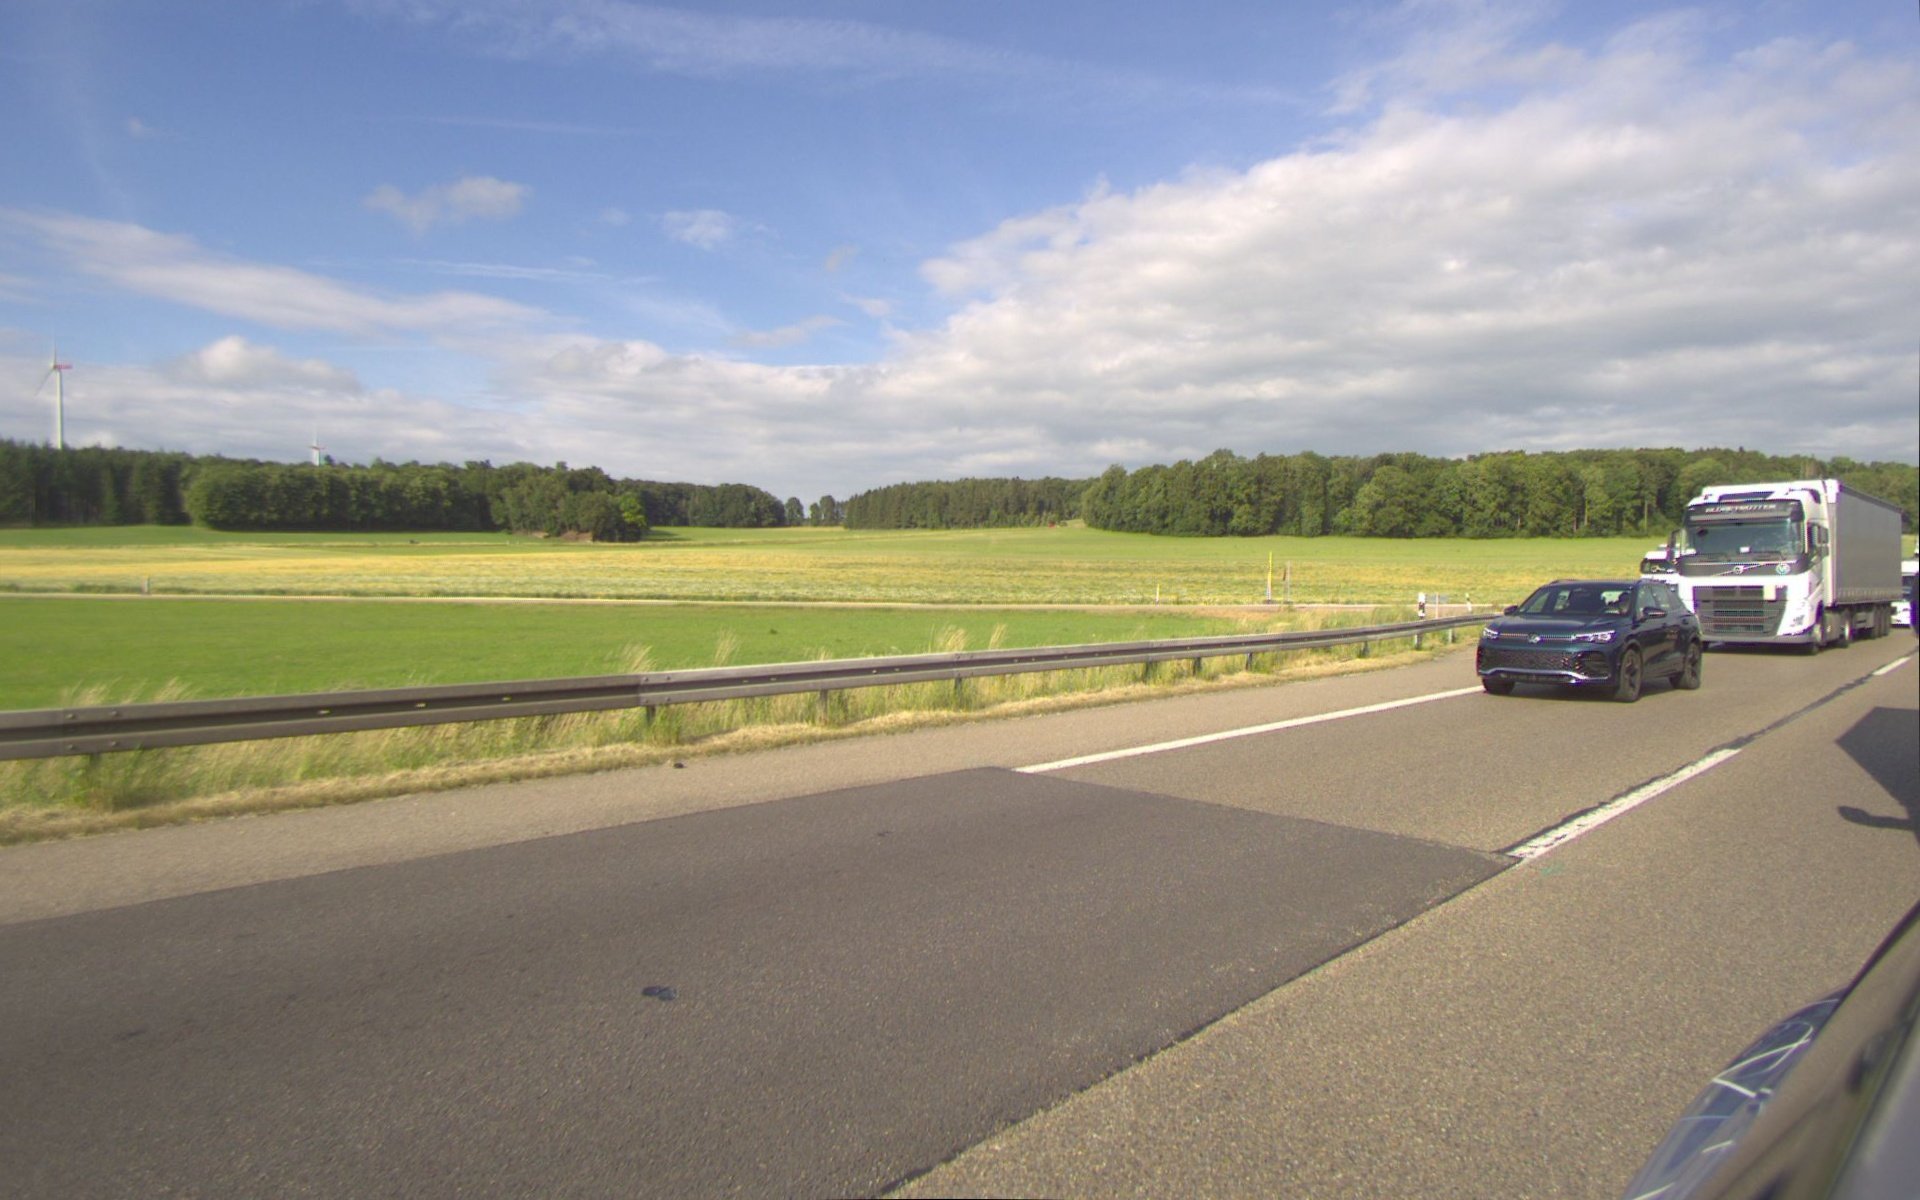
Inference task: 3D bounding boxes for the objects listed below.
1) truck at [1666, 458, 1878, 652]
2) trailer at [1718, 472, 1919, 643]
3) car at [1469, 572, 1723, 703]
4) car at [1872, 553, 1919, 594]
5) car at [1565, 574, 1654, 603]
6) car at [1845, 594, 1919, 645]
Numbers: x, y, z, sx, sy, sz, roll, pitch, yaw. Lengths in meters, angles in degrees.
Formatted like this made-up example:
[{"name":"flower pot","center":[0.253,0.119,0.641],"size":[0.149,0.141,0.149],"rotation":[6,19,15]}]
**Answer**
[{"name":"truck","center":[19.531,-0.989,24.217],"size":[6.388,4.040,2.840],"rotation":[-1,1,-41]},{"name":"trailer","center":[24.999,-1.110,28.953],"size":[11.917,4.032,2.824],"rotation":[-1,1,-41]},{"name":"car","center":[9.217,0.423,14.558],"size":[4.047,1.616,1.997],"rotation":[-1,1,-41]},{"name":"car","center":[40.899,-1.131,43.591],"size":[3.931,1.678,1.996],"rotation":[-1,1,-42]},{"name":"car","center":[38.338,-0.667,59.834],"size":[3.931,1.638,1.996],"rotation":[0,1,7]},{"name":"car","center":[33.296,0.649,36.188],"size":[3.931,1.678,1.996],"rotation":[-1,1,-42]}]
